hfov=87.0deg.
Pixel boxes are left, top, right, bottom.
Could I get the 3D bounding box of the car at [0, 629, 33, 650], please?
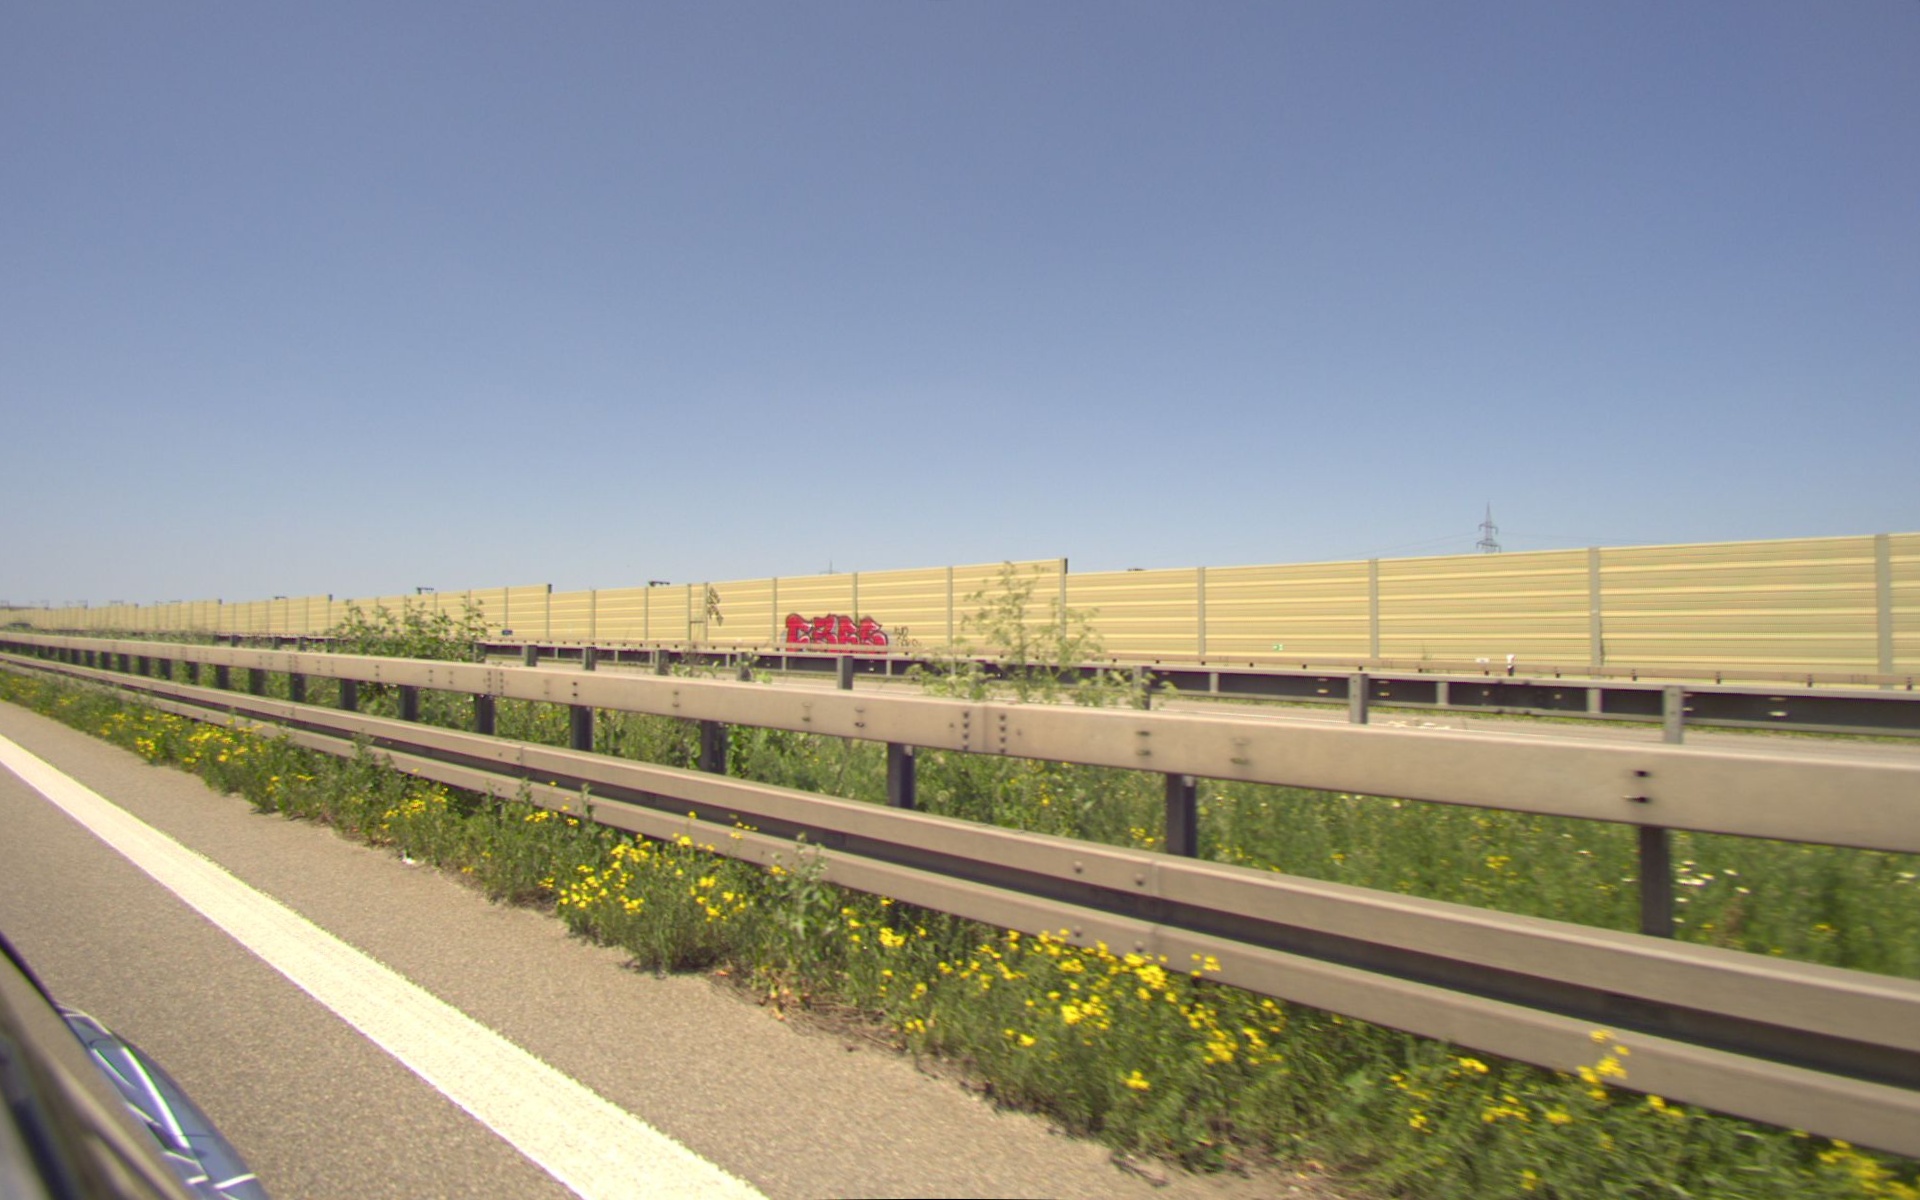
[{"bbox_3d":[-81.860,3.368,87.622,3.998,1.696,1.973,-1,0,41],"label":"car"}]
